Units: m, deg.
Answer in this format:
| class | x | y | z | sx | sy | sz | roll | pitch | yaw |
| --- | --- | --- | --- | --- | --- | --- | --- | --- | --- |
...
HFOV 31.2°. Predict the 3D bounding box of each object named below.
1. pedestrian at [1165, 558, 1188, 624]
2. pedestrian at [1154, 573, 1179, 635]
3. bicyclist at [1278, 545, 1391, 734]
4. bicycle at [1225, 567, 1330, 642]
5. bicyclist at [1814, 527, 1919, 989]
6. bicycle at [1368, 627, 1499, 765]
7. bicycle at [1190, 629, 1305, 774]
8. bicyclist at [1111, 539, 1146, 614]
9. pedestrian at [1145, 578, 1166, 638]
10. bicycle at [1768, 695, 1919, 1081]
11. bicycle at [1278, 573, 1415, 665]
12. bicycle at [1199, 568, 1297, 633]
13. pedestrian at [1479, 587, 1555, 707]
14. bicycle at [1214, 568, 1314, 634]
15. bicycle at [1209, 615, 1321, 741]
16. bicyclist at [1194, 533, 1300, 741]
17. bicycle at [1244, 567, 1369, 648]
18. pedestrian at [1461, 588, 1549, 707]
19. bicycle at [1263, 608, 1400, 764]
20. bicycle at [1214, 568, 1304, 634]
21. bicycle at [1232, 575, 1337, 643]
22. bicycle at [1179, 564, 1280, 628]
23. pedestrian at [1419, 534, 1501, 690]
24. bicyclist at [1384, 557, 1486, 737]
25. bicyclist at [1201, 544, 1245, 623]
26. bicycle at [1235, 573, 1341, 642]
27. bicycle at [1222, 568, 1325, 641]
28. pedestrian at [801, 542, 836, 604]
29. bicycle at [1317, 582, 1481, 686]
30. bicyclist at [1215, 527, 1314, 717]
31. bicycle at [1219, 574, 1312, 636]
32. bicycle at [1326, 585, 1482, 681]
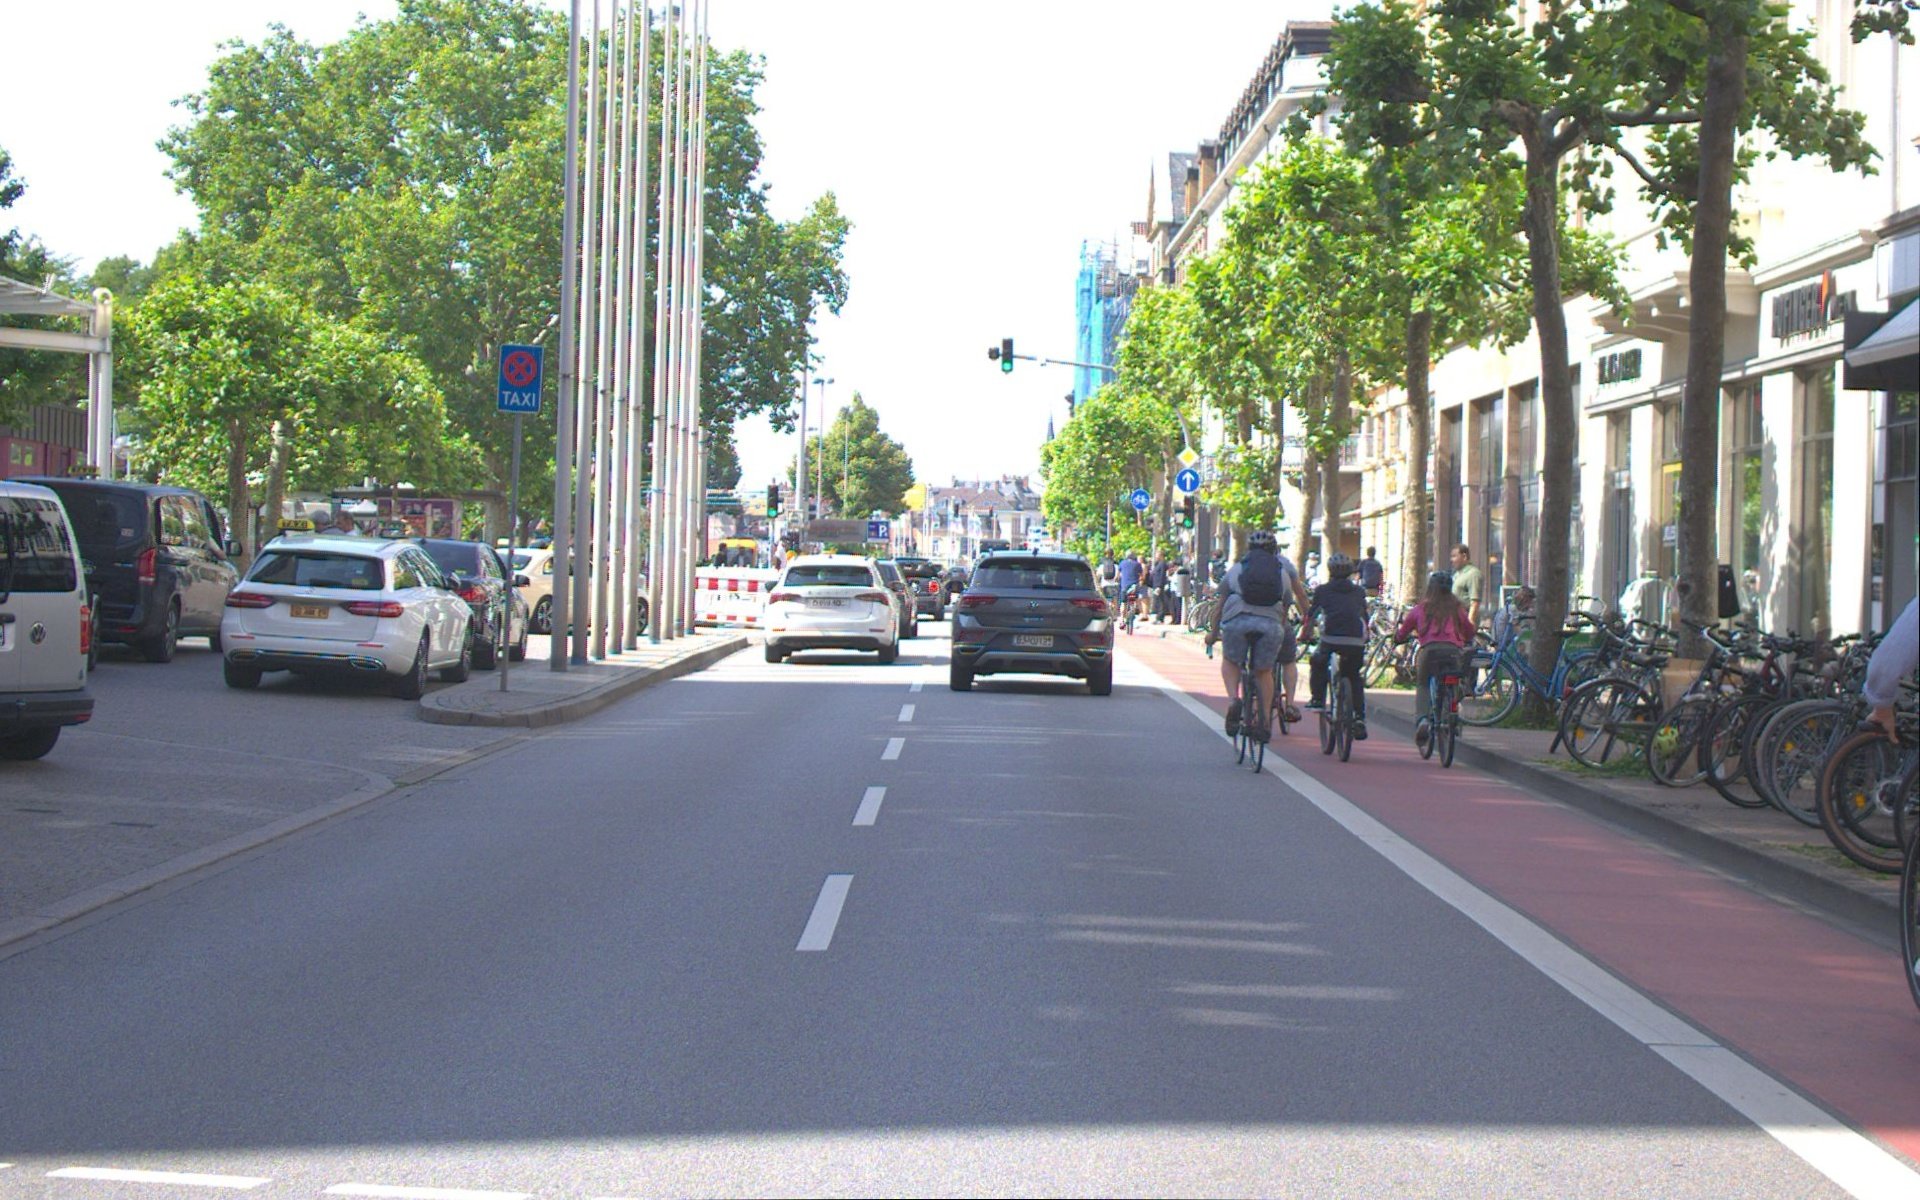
| class | x | y | z | sx | sy | sz | roll | pitch | yaw |
| --- | --- | --- | --- | --- | --- | --- | --- | --- | --- |
| pedestrian | 5.358 | -0.220 | 85.009 | 0.549 | 1.625 | 0.589 | 0 | 0 | 4 |
| pedestrian | 6.108 | 0.126 | 101.720 | 0.610 | 1.817 | 0.678 | 2 | 0 | -1 |
| bicyclist | 2.947 | 0.301 | 27.117 | 0.698 | 1.436 | 0.791 | 3 | 0 | -3 |
| bicycle | 5.454 | 0.073 | 59.061 | 1.728 | 1.213 | 0.477 | 2 | 1 | 3 |
| bicyclist | 3.314 | 0.503 | 11.212 | 0.698 | 1.441 | 0.961 | 3 | 0 | -3 |
| bicycle | 3.716 | 0.738 | 27.120 | 0.600 | 0.922 | 2.088 | 3 | 2 | -3 |
| bicycle | 2.090 | 0.723 | 25.220 | 0.630 | 0.976 | 2.089 | 2 | 0 | 0 |
| bicyclist | 3.541 | -0.503 | 72.214 | 0.647 | 1.545 | 0.817 | 2 | 0 | 0 |
| pedestrian | 4.962 | 0.214 | 87.382 | 0.523 | 1.516 | 0.641 | 0 | 0 | 3 |
| bicycle | 3.299 | 0.929 | 11.170 | 0.698 | 1.123 | 2.082 | 3 | 1 | -3 |
| bicycle | 5.434 | 0.265 | 48.434 | 1.840 | 1.182 | 0.670 | 3 | 0 | 6 |
| bicycle | 5.582 | 0.000 | 66.732 | 1.844 | 1.197 | 0.608 | 2 | 1 | 3 |
| pedestrian | 5.863 | 0.493 | 36.220 | 0.639 | 1.228 | 0.597 | 2 | 0 | -2 |
| bicycle | 5.777 | 0.018 | 65.417 | 1.844 | 1.197 | 0.474 | 2 | 1 | 3 |
| bicycle | 2.672 | 0.668 | 30.345 | 0.774 | 1.002 | 2.329 | 1 | 1 | 1 |
| bicyclist | 2.100 | 0.268 | 25.267 | 0.630 | 1.476 | 1.198 | 2 | 0 | 0 |
| bicycle | 5.594 | 0.115 | 55.530 | 1.931 | 1.244 | 0.736 | 2 | 1 | 3 |
| pedestrian | 5.835 | 0.509 | 36.852 | 0.787 | 1.239 | 0.576 | 2 | -1 | -2 |
| bicycle | 2.924 | 0.656 | 27.223 | 0.698 | 1.123 | 2.082 | 3 | 1 | -3 |
| bicycle | 5.647 | 0.017 | 65.005 | 1.649 | 1.197 | 0.474 | 2 | 1 | 3 |
| bicycle | 5.533 | 0.155 | 58.699 | 1.728 | 1.105 | 0.477 | 2 | 1 | 3 |
| bicycle | 5.576 | -0.079 | 71.145 | 1.932 | 1.253 | 0.705 | 2 | 1 | -19 |
| pedestrian | 5.604 | 0.122 | 38.569 | 0.639 | 1.683 | 0.843 | 4 | 1 | -2 |
| bicyclist | 3.736 | 0.362 | 27.103 | 0.600 | 1.353 | 0.721 | 3 | 2 | -3 |
| bicyclist | 6.008 | -0.390 | 78.587 | 0.573 | 1.791 | 0.857 | -1 | 1 | -34 |
| bicycle | 5.520 | 0.120 | 57.865 | 1.728 | 1.105 | 0.402 | 2 | 1 | 3 |
| bicycle | 5.449 | 0.074 | 59.786 | 1.728 | 1.213 | 0.477 | 2 | 1 | 3 |
| pedestrian | -3.701 | -0.699 | 89.865 | 0.633 | 1.590 | 0.686 | 2 | 0 | 21 |
| bicycle | 5.194 | 0.403 | 40.674 | 1.841 | 1.123 | 0.497 | 3 | 0 | 12 |
| bicyclist | 2.679 | 0.185 | 30.320 | 0.774 | 1.629 | 0.851 | 1 | 1 | 1 |
| bicycle | 5.643 | 0.091 | 63.483 | 1.649 | 1.091 | 0.607 | 2 | 1 | 3 |
| bicycle | 5.455 | 0.401 | 42.326 | 1.840 | 1.093 | 0.794 | 2 | 0 | 6 |
